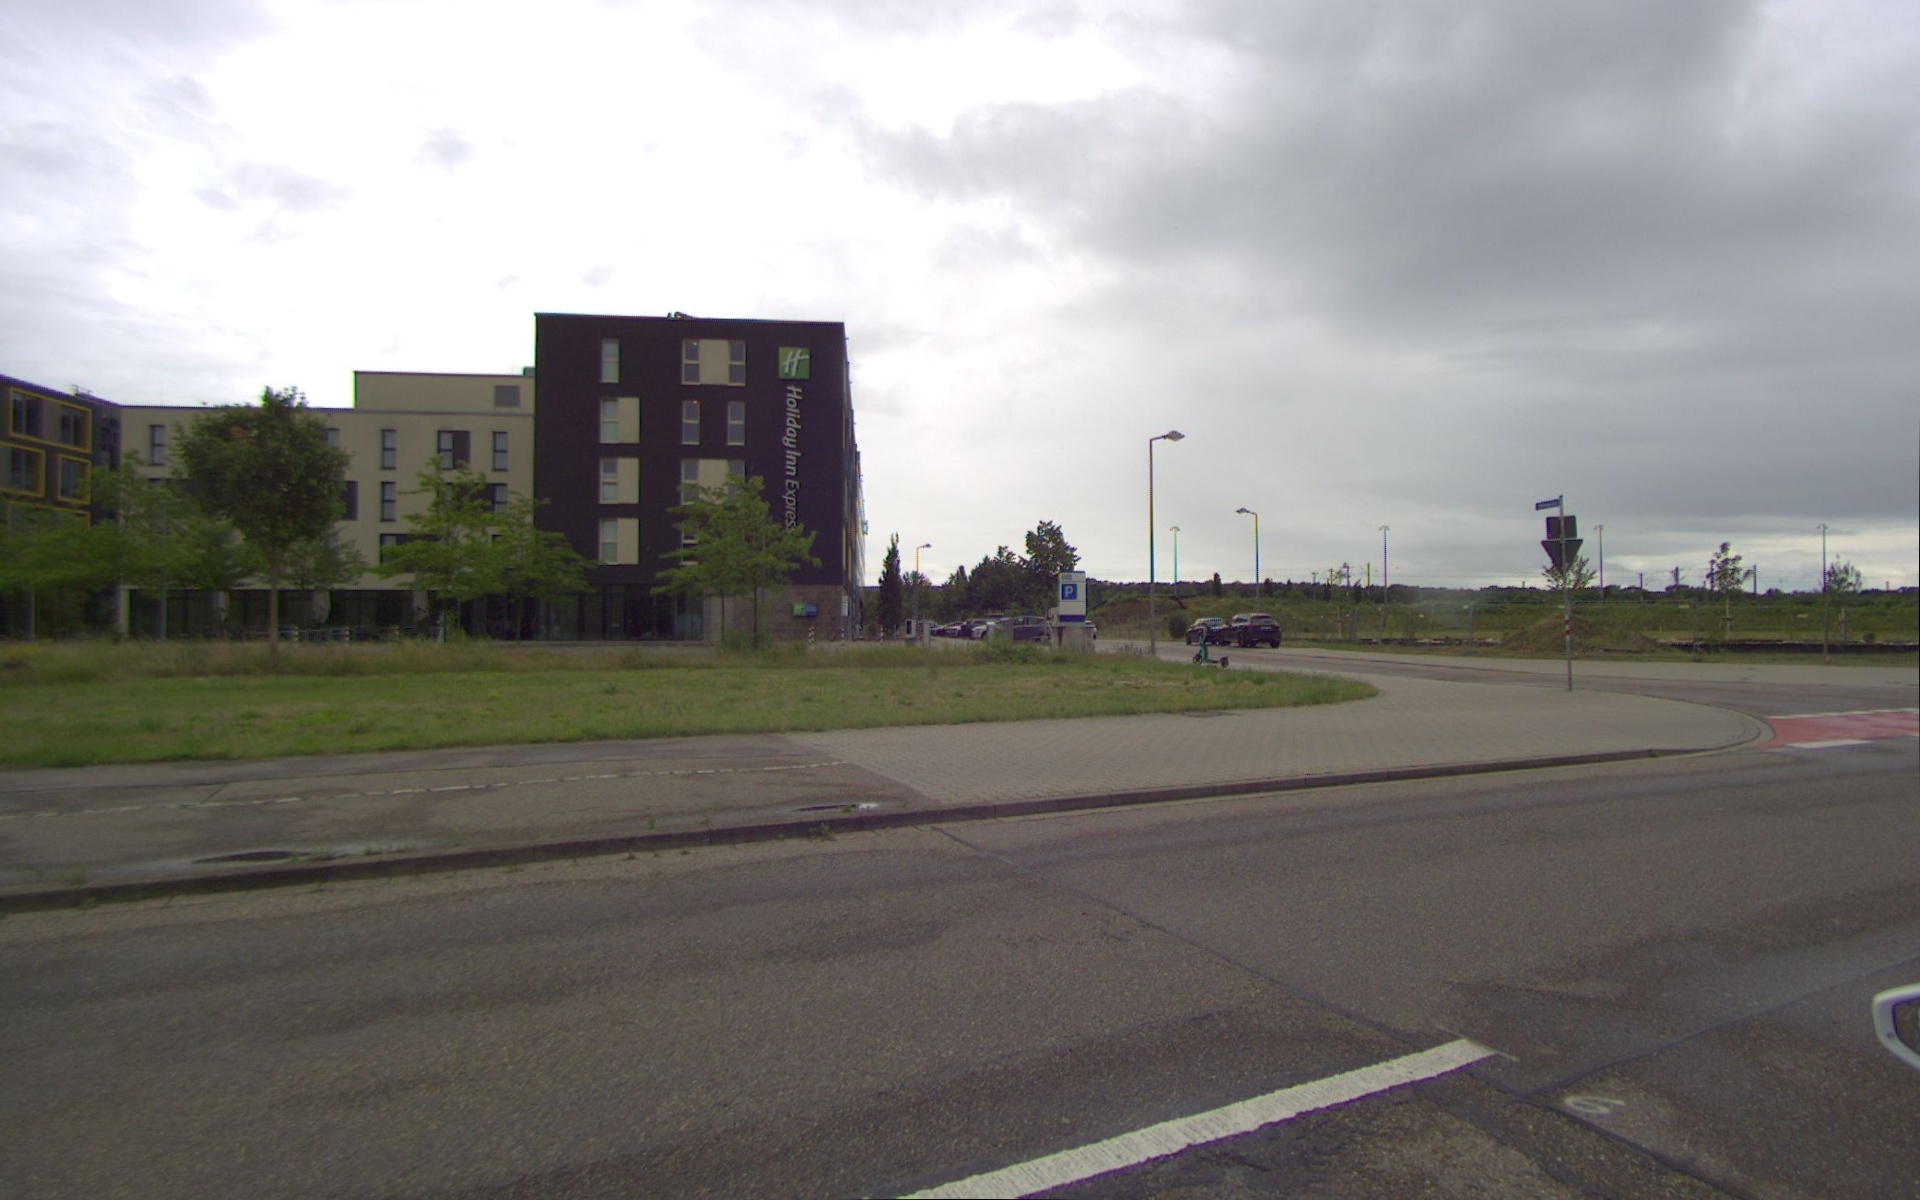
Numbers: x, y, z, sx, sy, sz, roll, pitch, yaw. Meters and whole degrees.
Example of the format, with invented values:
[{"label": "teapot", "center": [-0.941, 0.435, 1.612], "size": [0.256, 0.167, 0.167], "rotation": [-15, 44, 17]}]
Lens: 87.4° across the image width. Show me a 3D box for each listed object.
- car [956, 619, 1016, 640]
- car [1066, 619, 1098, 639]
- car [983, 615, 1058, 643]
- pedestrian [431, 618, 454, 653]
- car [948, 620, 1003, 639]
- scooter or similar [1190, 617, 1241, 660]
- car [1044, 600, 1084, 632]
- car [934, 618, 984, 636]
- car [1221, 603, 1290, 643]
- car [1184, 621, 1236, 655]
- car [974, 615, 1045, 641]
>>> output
[{"label": "car", "center": [1.813, 2.068, 70.330], "size": [3.928, 1.416, 1.742], "rotation": [0, -1, -10]}, {"label": "car", "center": [10.819, 2.548, 89.202], "size": [1.962, 1.769, 3.997], "rotation": [-1, -1, -5]}, {"label": "car", "center": [3.361, 1.578, 55.874], "size": [3.926, 1.461, 1.697], "rotation": [-1, -1, -7]}, {"label": "pedestrian", "center": [-23.660, 1.610, 45.935], "size": [0.863, 1.591, 0.949], "rotation": [-1, -1, -22]}, {"label": "car", "center": [1.135, 2.233, 75.513], "size": [3.927, 1.416, 1.743], "rotation": [0, -1, -9]}, {"label": "scooter or similar", "center": [7.291, 1.093, 28.727], "size": [0.565, 1.184, 1.455], "rotation": [1, 0, -31]}, {"label": "car", "center": [10.017, 1.556, 97.347], "size": [2.663, 2.996, 6.572], "rotation": [-1, -1, -5]}, {"label": "car", "center": [-0.077, 2.227, 83.353], "size": [3.927, 1.477, 1.743], "rotation": [0, -1, -9]}, {"label": "car", "center": [14.492, 1.140, 49.442], "size": [1.962, 1.847, 3.998], "rotation": [-1, -1, -4]}, {"label": "car", "center": [13.645, 2.031, 55.007], "size": [1.770, 1.776, 3.674], "rotation": [-1, -1, -3]}, {"label": "car", "center": [3.121, 1.752, 63.286], "size": [4.082, 1.537, 1.995], "rotation": [-1, -1, -13]}]
